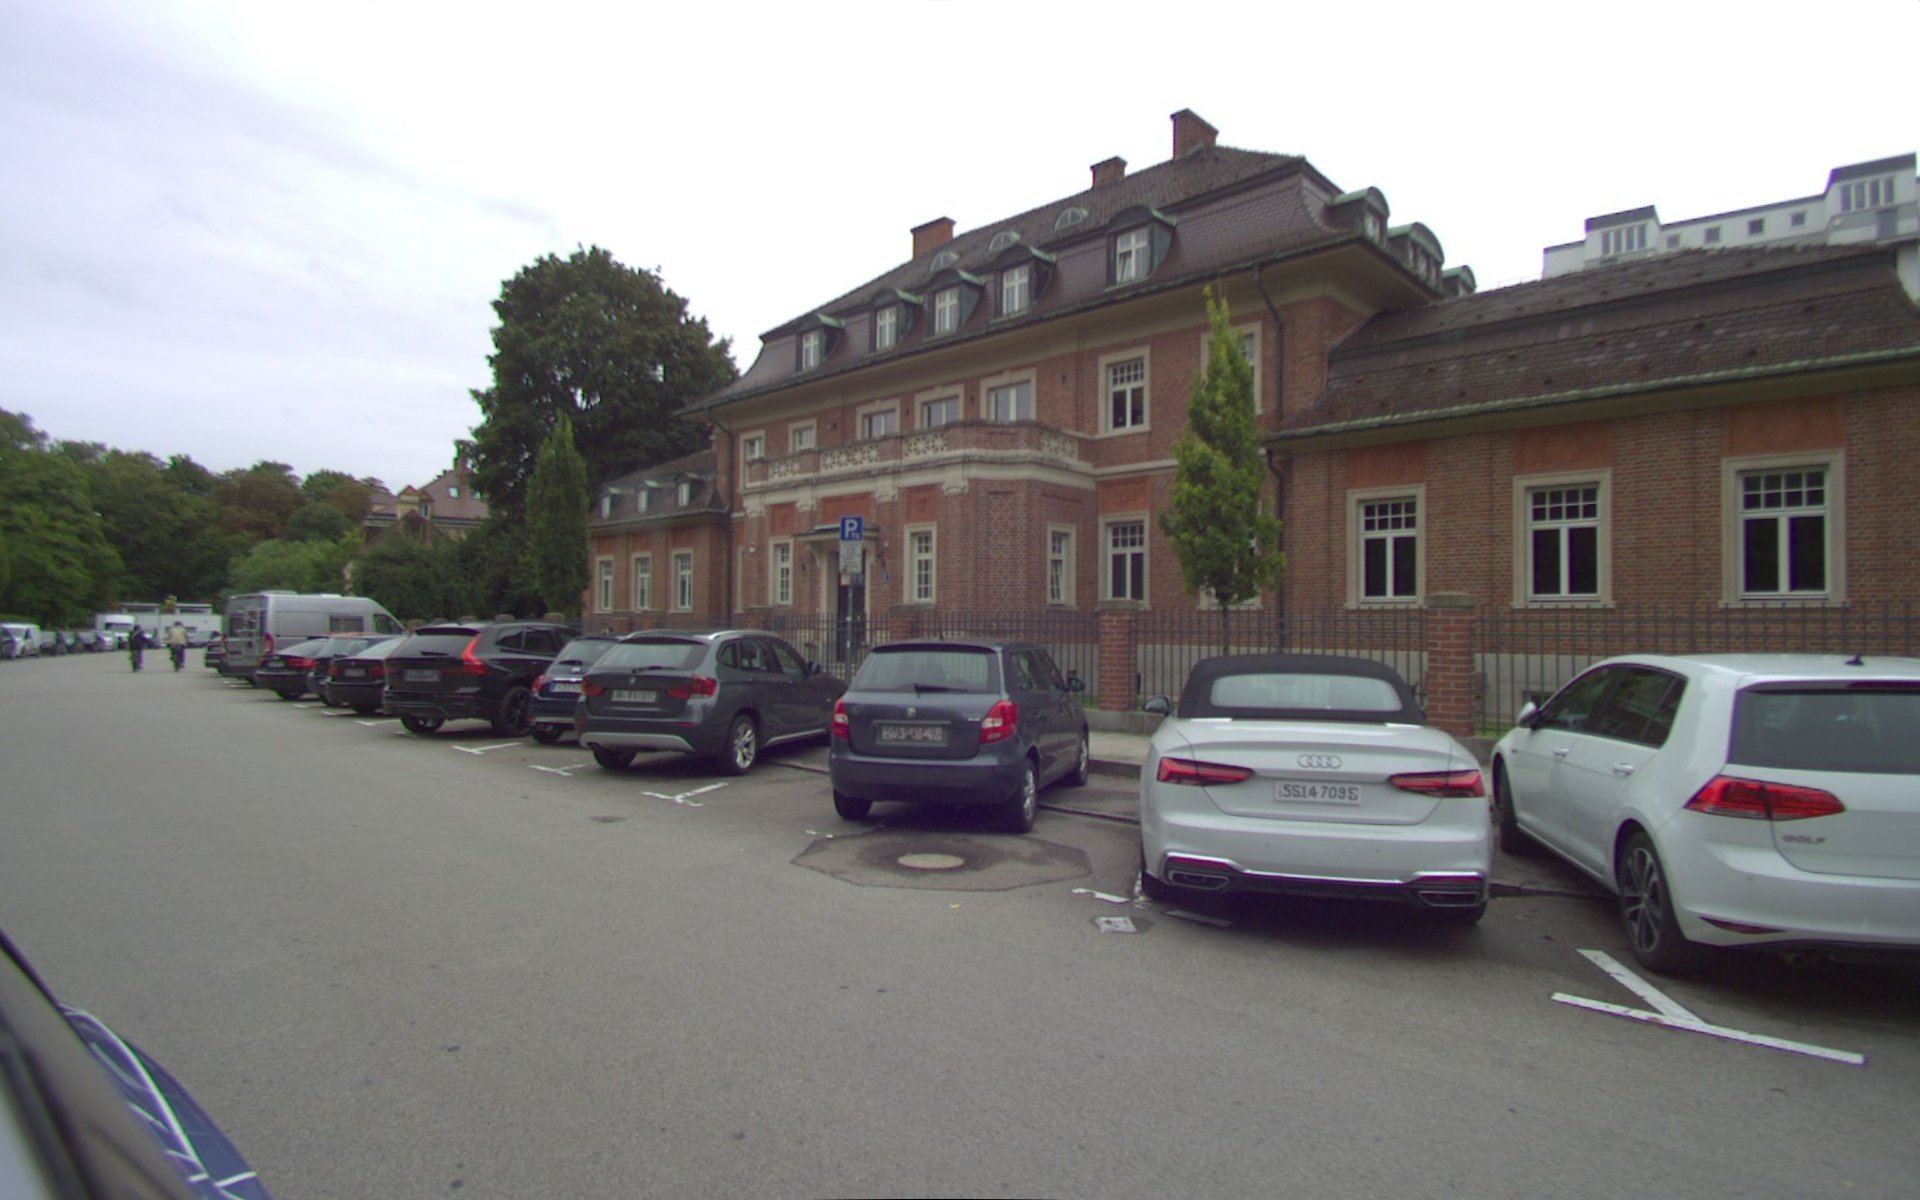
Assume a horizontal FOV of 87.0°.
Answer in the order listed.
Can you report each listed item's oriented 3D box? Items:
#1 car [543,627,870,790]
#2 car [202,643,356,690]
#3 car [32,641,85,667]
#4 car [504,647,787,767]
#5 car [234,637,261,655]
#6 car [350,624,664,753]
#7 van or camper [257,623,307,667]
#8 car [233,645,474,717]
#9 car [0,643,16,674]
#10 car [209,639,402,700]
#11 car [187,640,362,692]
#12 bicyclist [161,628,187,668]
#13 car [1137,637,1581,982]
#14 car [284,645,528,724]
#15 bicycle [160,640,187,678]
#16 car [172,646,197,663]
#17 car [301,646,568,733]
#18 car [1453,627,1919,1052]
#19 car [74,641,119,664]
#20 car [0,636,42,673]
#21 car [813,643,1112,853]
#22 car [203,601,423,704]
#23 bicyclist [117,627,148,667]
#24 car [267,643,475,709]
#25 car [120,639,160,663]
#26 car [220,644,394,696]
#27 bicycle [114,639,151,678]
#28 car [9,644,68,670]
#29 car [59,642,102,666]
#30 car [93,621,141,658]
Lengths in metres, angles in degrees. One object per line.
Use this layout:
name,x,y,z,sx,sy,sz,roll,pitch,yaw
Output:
car,-2.757,1.160,12.270,1.872,1.579,4.504,0,-3,15
car,-24.465,2.339,36.457,1.934,1.541,4.282,-1,-2,44
car,-56.025,3.370,62.940,1.703,1.541,4.216,3,-4,-32
car,-4.423,1.501,15.015,1.806,1.483,4.302,0,-4,19
car,-60.624,3.932,86.128,1.748,1.486,4.144,1,-3,-34
car,-6.796,1.310,15.841,1.971,1.677,4.500,0,-3,17
van or camper,-48.647,3.276,72.771,2.421,2.963,7.232,3,-4,-30
car,-13.717,1.811,23.242,1.963,1.462,4.496,-1,-4,20
car,-47.424,2.860,48.964,1.724,1.492,4.610,1,-3,-32
car,-19.448,2.059,30.327,1.955,1.638,4.490,1,-3,24
car,-22.968,2.222,34.126,1.953,1.606,4.490,0,-4,24
bicyclist,-27.960,1.705,36.022,0.687,1.408,0.932,2,-3,-37
car,2.268,1.016,6.789,1.878,1.462,4.497,0,-3,13
car,-11.511,1.734,21.442,1.805,1.462,4.500,0,-4,17
bicycle,-27.932,2.083,35.964,0.698,1.315,2.123,2,-3,-37
car,-75.941,5.368,99.061,1.867,1.457,4.277,-1,-3,-38
car,-9.813,1.656,19.378,1.911,1.429,4.500,0,-4,17
car,4.414,1.041,5.763,1.913,1.521,4.497,0,-4,13
car,-62.139,3.811,72.894,1.845,1.581,5.013,5,-5,-35
car,-50.222,2.876,53.313,1.797,1.875,4.912,0,-2,-31
car,0.299,1.155,9.431,1.642,1.462,4.372,-1,-3,16
car,-17.662,1.465,27.905,2.221,2.583,4.599,-1,-4,24
bicyclist,-28.682,1.623,35.096,0.687,1.362,0.932,2,-3,-34
car,-15.266,1.917,26.537,1.924,1.528,4.493,-1,-2,22
car,-71.591,4.463,88.459,1.908,1.919,5.086,4,-5,-31
car,-20.938,2.232,32.670,1.823,1.498,4.384,0,-3,25
bicycle,-28.735,2.016,35.160,0.697,1.315,2.124,2,-3,-33
car,-53.146,3.280,58.422,1.724,1.475,4.254,2,-3,-32
car,-58.763,3.637,67.664,1.263,1.518,5.221,4,-5,-32
car,-65.535,3.104,78.753,2.051,2.707,6.104,4,-5,-33
